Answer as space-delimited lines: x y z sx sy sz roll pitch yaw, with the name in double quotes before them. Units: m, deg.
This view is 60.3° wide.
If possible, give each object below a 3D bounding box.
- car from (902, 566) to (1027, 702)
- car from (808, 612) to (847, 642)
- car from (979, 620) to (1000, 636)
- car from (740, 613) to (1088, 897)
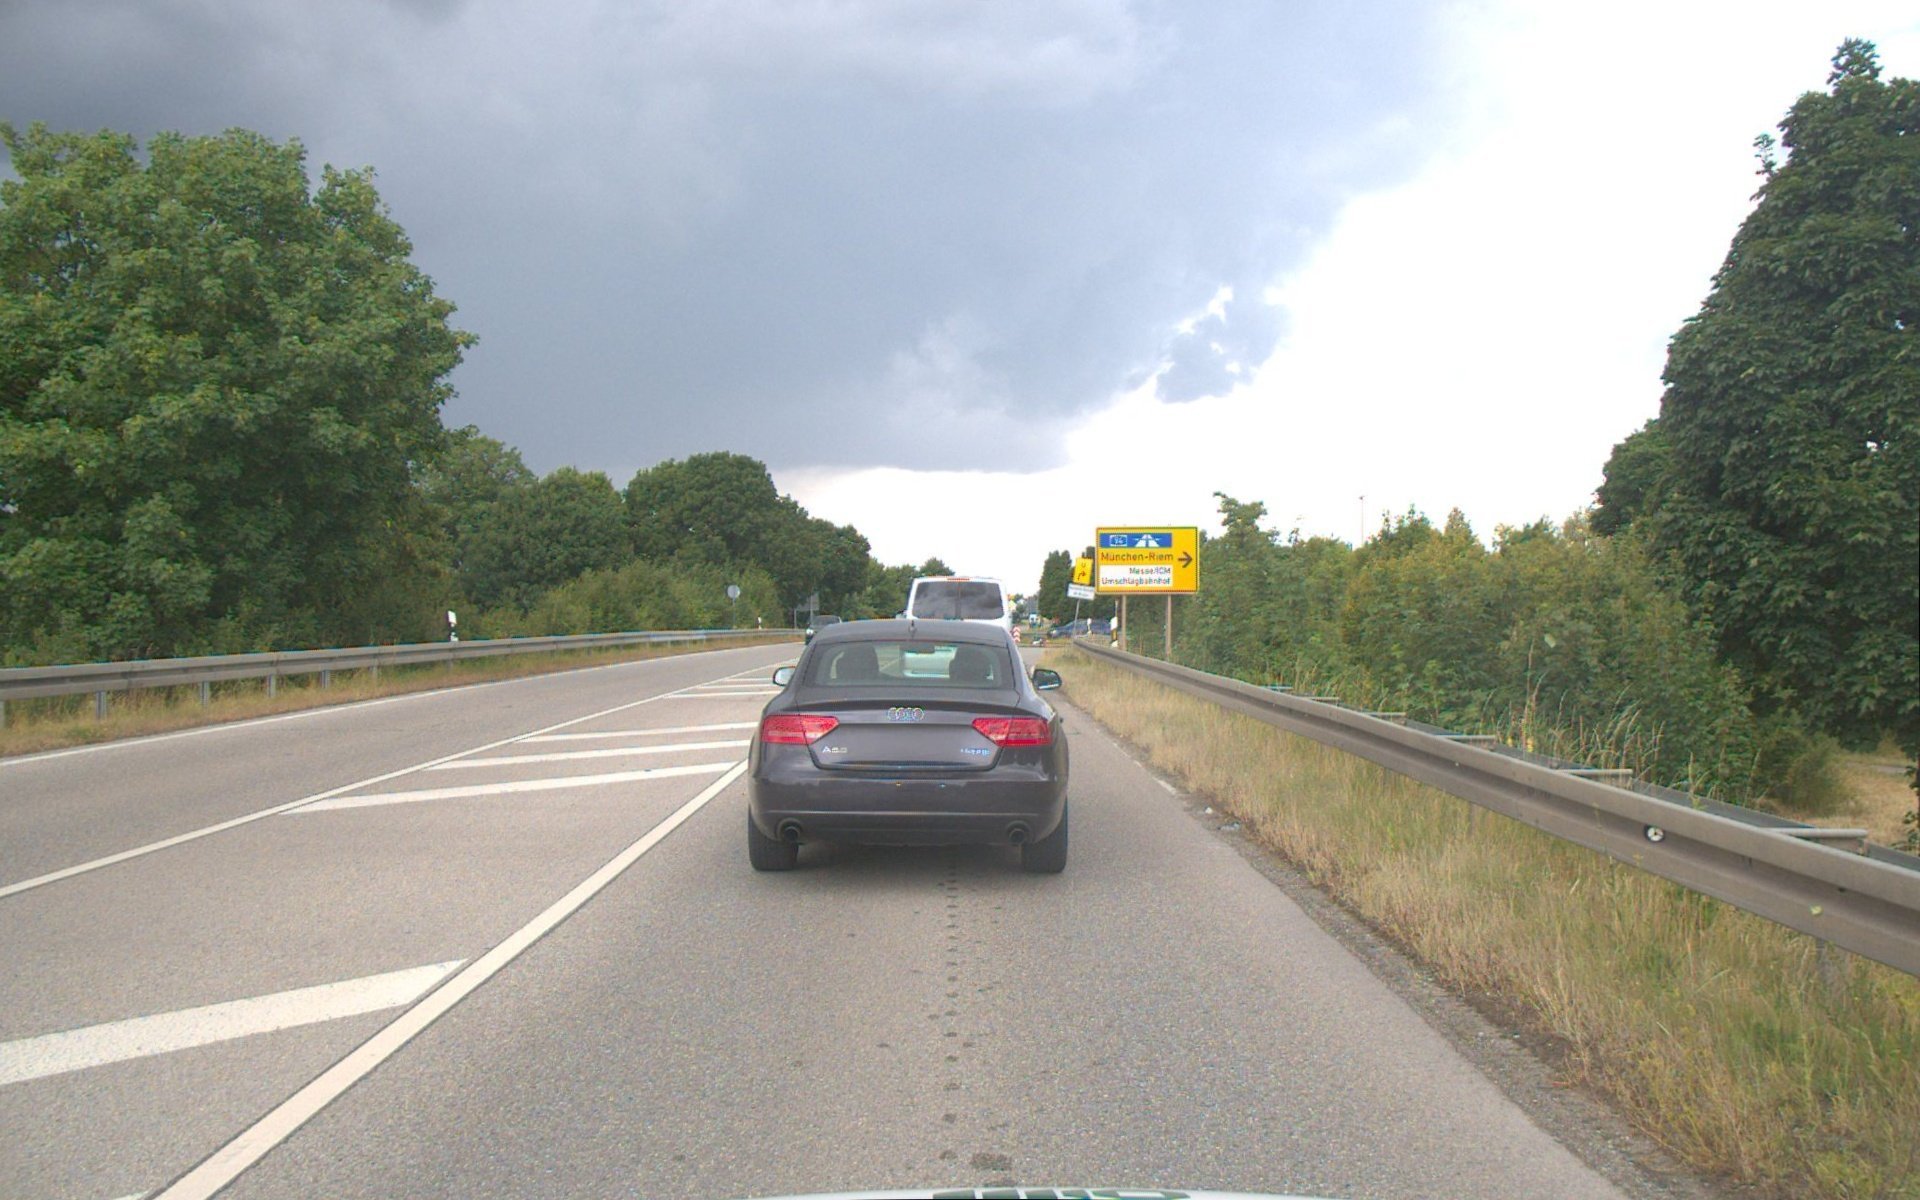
"car" 0.051 0.529 27.310 1.871 2.049 3.999 1 0 -1
"car" -6.522 1.314 81.680 1.589 1.403 4.511 0 0 -1
"car" 3.230 3.060 182.644 2.161 1.610 4.378 1 0 -1
"car" -0.252 0.803 10.021 1.743 1.423 3.335 0 -1 -1
